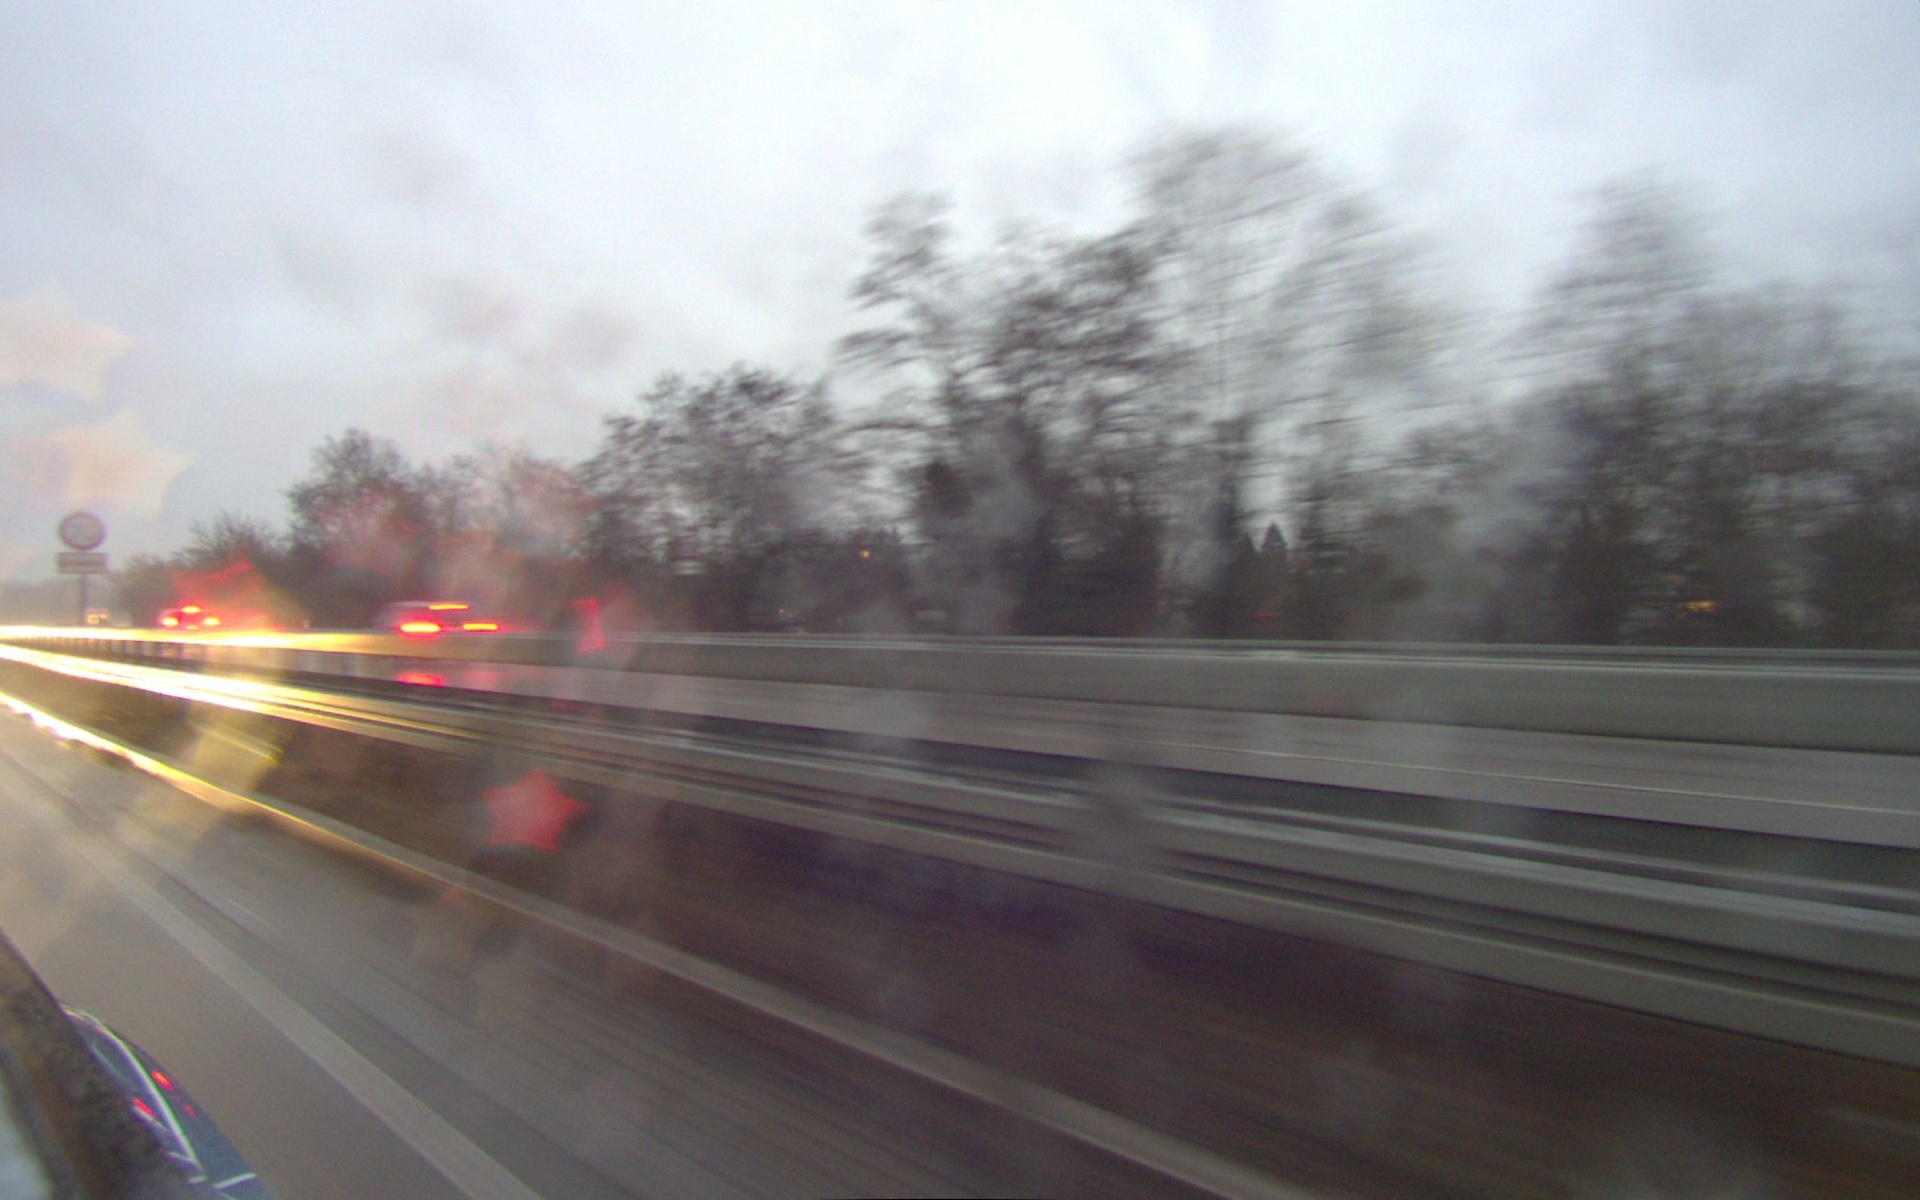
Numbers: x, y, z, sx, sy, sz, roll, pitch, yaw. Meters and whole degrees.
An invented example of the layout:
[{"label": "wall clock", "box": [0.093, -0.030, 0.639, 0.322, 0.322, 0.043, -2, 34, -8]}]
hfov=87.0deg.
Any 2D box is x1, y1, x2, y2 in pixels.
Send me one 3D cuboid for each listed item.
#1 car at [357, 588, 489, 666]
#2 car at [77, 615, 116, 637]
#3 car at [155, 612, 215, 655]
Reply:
[{"label": "car", "box": [-13.874, 0.616, 26.063, 4.135, 1.847, 1.726, 1, 1, 42]}, {"label": "car", "box": [-64.707, 1.943, 75.810, 4.305, 1.540, 1.825, -2, -1, 44]}, {"label": "car", "box": [-38.666, 1.609, 50.463, 1.912, 1.988, 4.541, -1, 0, -44]}]
